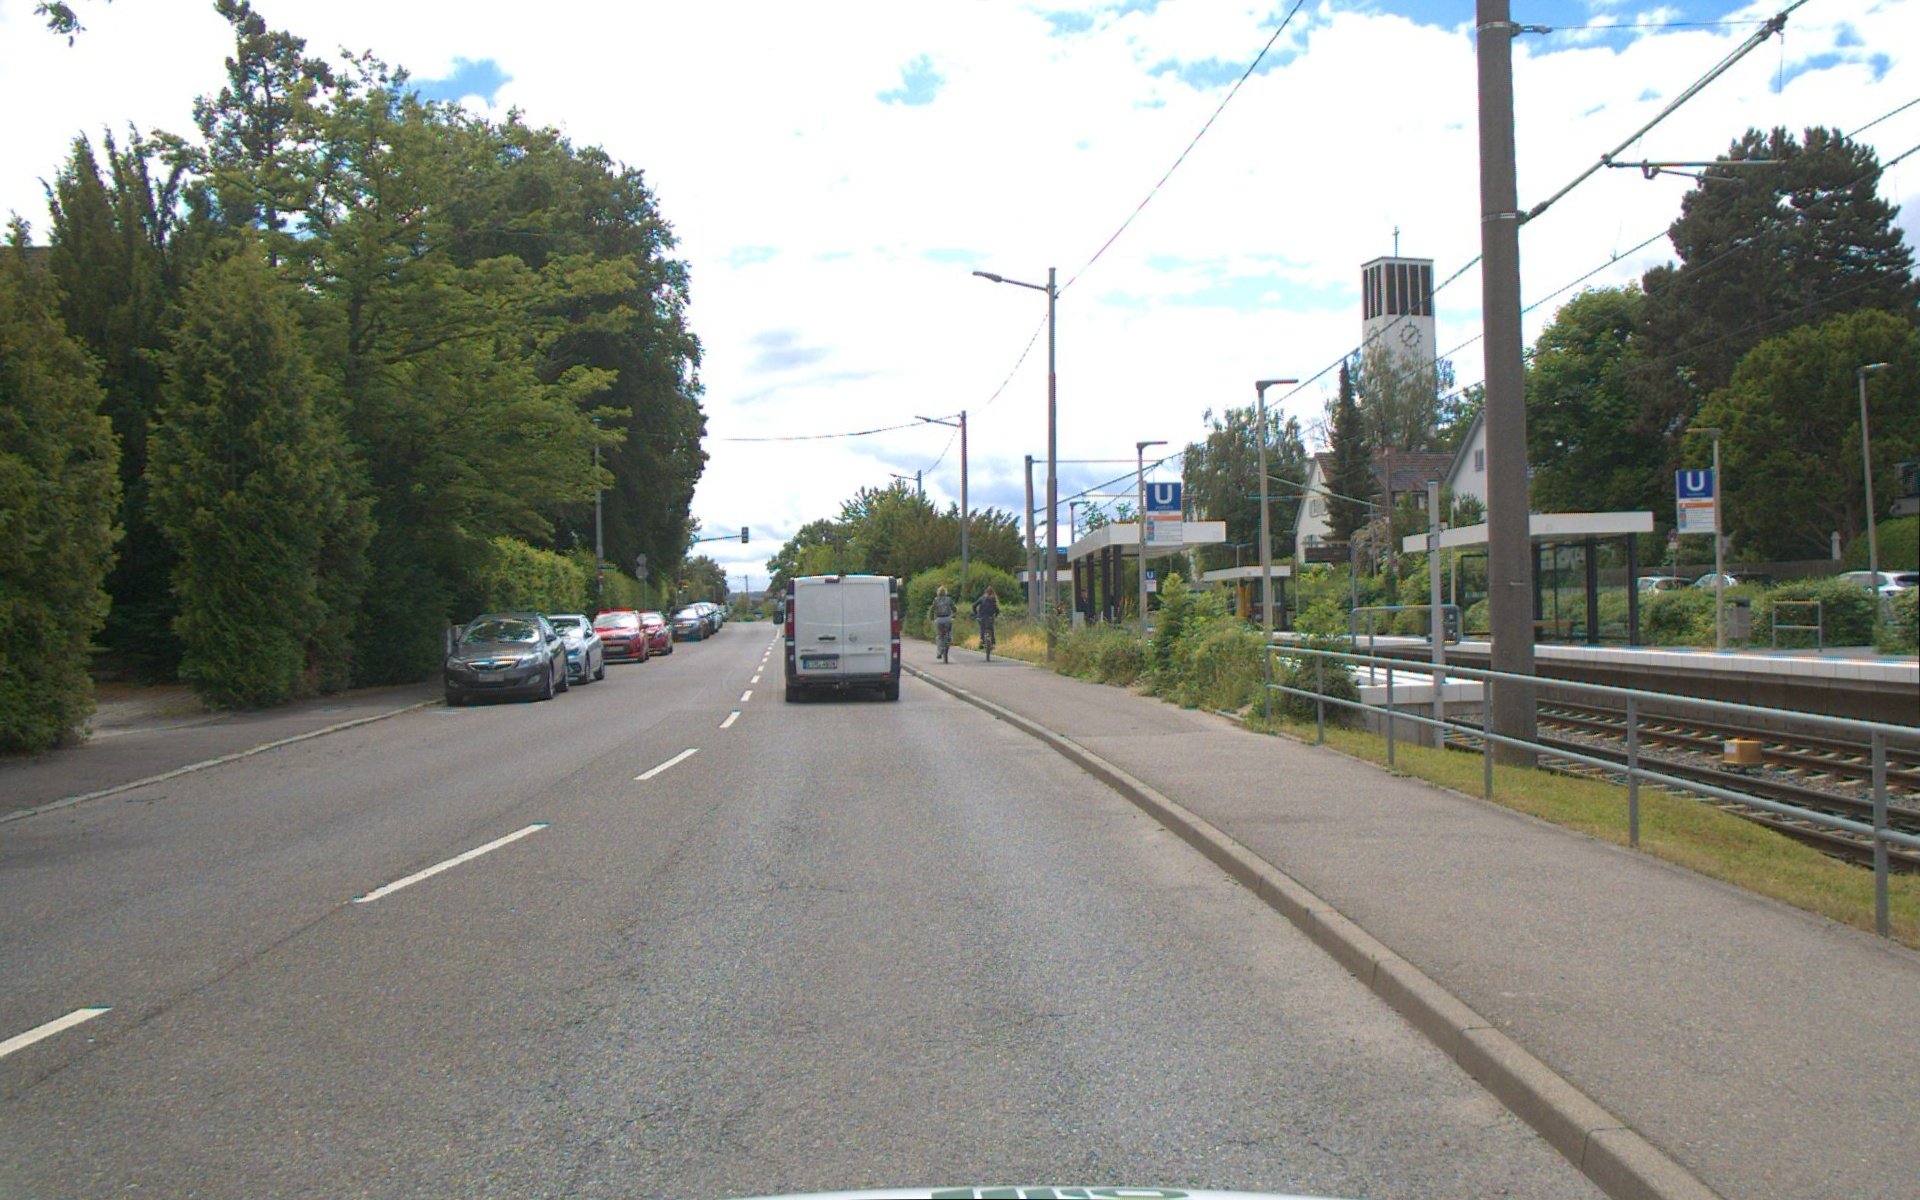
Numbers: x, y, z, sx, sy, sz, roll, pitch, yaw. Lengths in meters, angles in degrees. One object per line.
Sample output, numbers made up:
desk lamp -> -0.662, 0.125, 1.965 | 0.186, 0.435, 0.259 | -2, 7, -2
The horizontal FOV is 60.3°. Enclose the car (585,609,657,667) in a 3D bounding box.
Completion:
car -> -9.698, 1.055, 47.550 | 1.558, 1.531, 3.511 | -2, 0, -5

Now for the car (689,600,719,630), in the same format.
car -> -16.133, 0.937, 104.303 | 1.728, 1.787, 3.809 | -2, 0, -7

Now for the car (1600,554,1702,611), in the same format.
car -> 22.302, -0.541, 53.543 | 1.697, 1.782, 3.935 | 0, 0, 1

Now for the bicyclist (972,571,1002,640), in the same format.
bicyclist -> 0.659, 0.132, 41.036 | 0.627, 1.678, 0.818 | -1, 0, -6

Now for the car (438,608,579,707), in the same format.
car -> -7.937, 0.954, 29.412 | 1.704, 1.531, 4.471 | -3, 0, -7

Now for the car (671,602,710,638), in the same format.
car -> -13.288, 0.960, 81.703 | 1.728, 1.685, 4.054 | -2, 0, -7

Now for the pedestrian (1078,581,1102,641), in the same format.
pedestrian -> 3.828, 0.334, 48.755 | 0.624, 1.755, 0.655 | 0, 0, 12

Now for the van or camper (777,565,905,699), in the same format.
van or camper -> -2.039, 0.516, 27.628 | 1.955, 2.049, 4.440 | 0, -1, -6

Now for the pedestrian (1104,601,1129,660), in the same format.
pedestrian -> 3.639, 0.699, 38.462 | 0.389, 1.367, 0.485 | -1, 0, 39

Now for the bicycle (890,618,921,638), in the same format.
bicycle -> -2.956, 1.498, 89.451 | 1.666, 1.048, 0.490 | -1, 0, -8

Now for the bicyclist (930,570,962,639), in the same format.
bicyclist -> -0.340, 0.105, 39.971 | 0.704, 1.640, 0.756 | -1, 0, -7

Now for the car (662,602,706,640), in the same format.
car -> -12.596, 0.932, 75.656 | 1.728, 1.654, 4.179 | -2, 0, -7

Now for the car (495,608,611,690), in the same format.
car -> -8.507, 0.982, 34.874 | 1.703, 1.531, 3.959 | -3, 0, -5

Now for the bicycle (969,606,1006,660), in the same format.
bicycle -> 0.669, 0.796, 41.156 | 0.606, 1.268, 2.392 | -1, 0, -6

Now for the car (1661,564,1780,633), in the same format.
car -> 22.274, -0.007, 48.593 | 1.697, 1.948, 3.934 | 1, -1, 0

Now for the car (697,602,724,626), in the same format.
car -> -17.754, 0.974, 117.750 | 1.728, 1.584, 3.809 | -2, 0, -7

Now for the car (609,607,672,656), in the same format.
car -> -10.464, 1.004, 54.419 | 1.728, 1.497, 4.179 | -2, 0, -7

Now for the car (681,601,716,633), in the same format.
car -> -14.509, 0.934, 91.789 | 1.728, 1.685, 3.809 | -2, 0, -7

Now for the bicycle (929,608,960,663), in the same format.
bicycle -> -0.386, 0.843, 40.248 | 0.536, 1.268, 2.052 | -1, 0, -6
